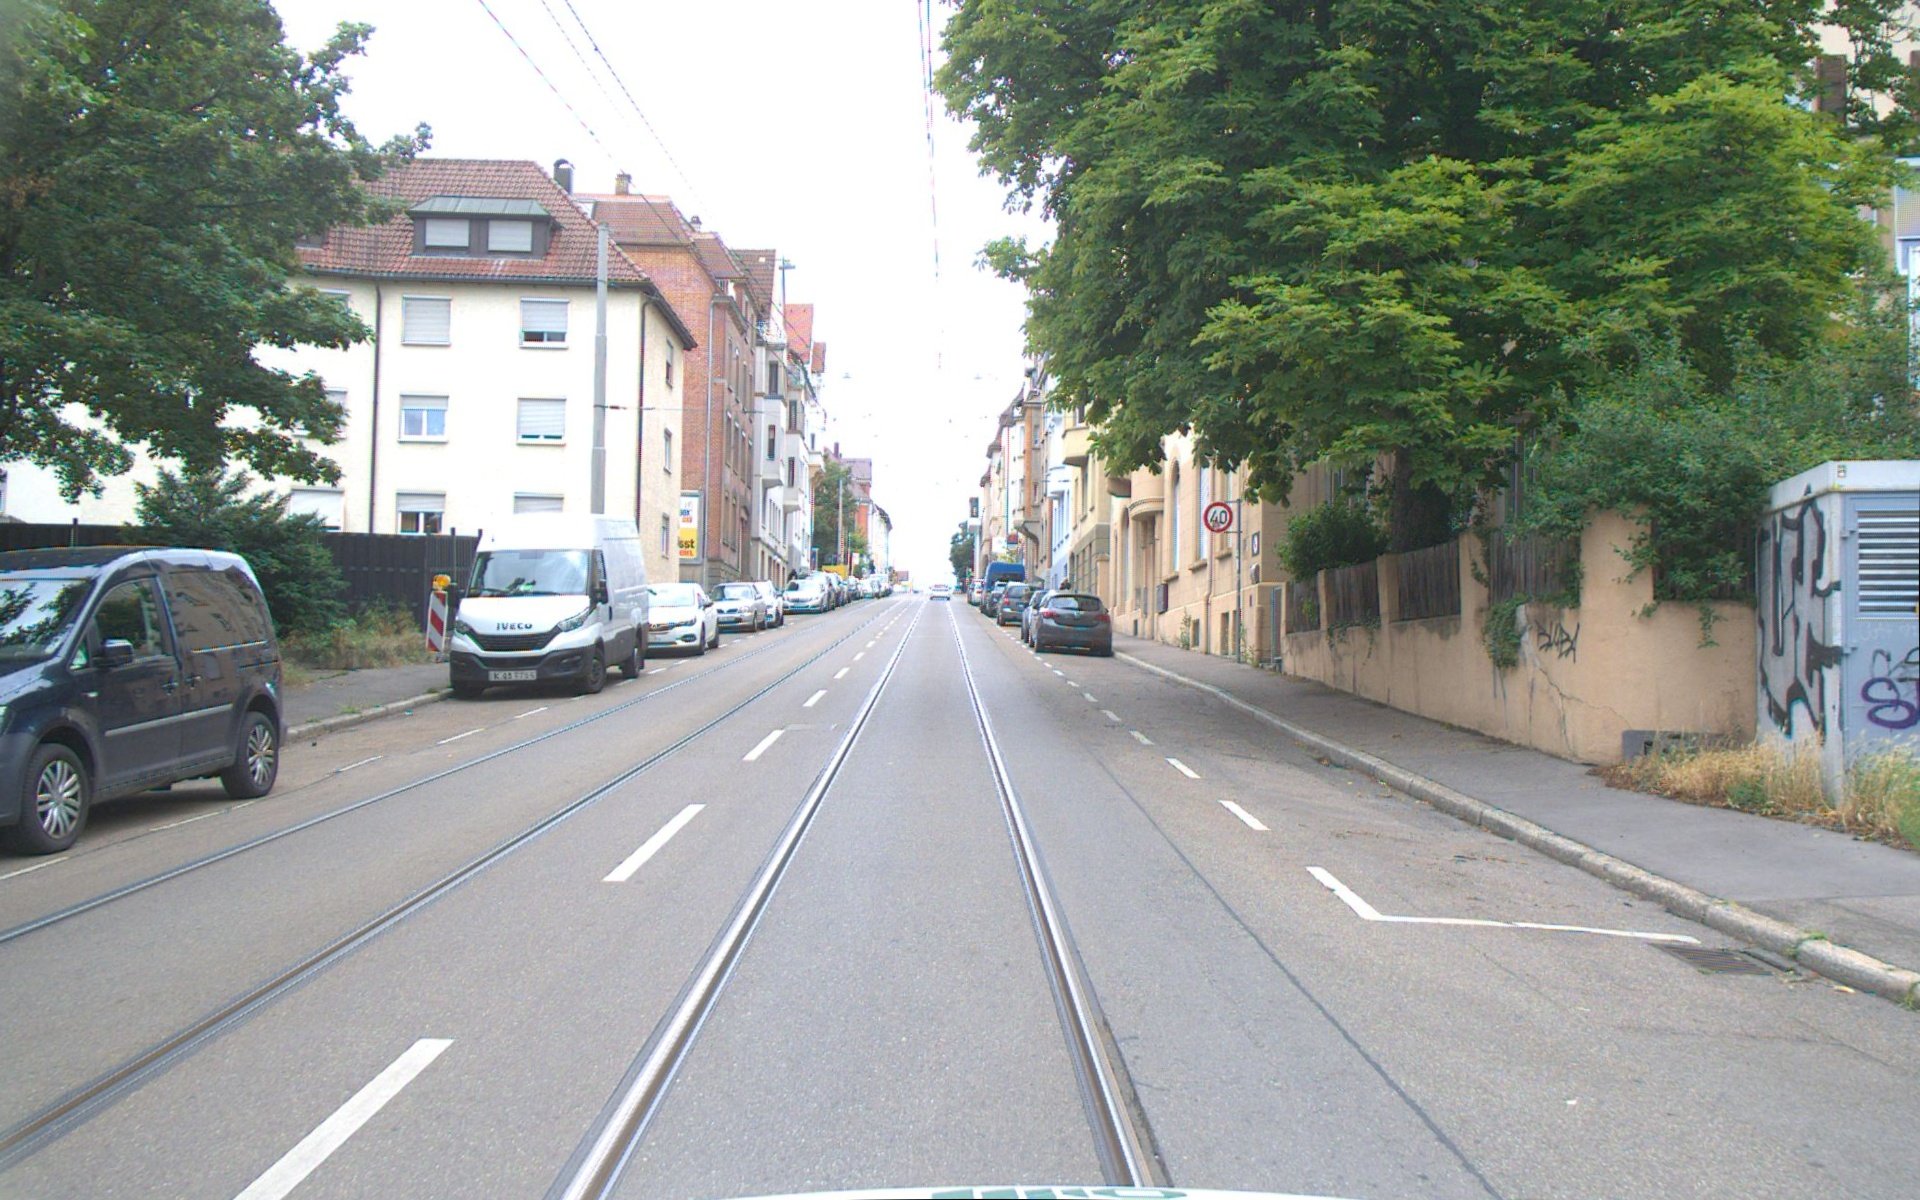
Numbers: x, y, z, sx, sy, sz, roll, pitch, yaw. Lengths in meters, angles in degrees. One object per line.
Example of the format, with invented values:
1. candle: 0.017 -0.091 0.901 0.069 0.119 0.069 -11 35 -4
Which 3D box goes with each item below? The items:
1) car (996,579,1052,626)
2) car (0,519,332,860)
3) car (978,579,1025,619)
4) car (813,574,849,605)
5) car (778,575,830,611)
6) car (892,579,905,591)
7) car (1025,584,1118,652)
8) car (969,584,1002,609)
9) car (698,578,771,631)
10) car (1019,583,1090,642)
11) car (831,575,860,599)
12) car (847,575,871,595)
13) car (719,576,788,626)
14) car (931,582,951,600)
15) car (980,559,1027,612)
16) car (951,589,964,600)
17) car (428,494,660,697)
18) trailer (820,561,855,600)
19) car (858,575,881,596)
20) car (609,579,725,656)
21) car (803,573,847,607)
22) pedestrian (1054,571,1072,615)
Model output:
1. car: 2.318 0.053 60.877 1.790 1.545 4.028 3 1 0
2. car: -5.935 0.488 10.856 1.726 1.806 4.668 -2 0 1
3. car: 1.810 -0.057 72.718 1.744 1.557 4.191 5 0 -2
4. car: -7.136 -0.613 91.989 1.662 1.621 4.268 -1 1 0
5. car: -6.771 -0.323 72.140 1.790 1.454 4.839 -1 1 0
6. car: -8.953 -2.152 239.948 1.817 1.635 4.296 1 0 -1
7. car: 2.603 0.405 39.436 1.802 1.427 4.167 3 0 -1
8. car: 1.505 -0.241 100.023 1.715 1.414 4.306 3 0 -2
9. car: -6.548 0.105 48.365 1.568 1.392 3.807 -2 1 0
10. car: 2.563 0.313 45.555 1.661 1.428 3.667 3 1 0
11. car: -7.460 -0.856 107.781 1.662 1.494 3.023 -1 0 0
12. car: -8.263 -1.220 135.697 1.662 1.583 3.850 1 0 1
13. car: -6.577 -0.010 53.105 1.791 1.454 4.625 -3 1 -3
14. car: -1.728 -0.819 147.562 1.638 1.539 3.796 1 1 -2
15. car: 2.021 -0.669 78.463 1.953 2.418 5.055 1 0 -1
16. car: -0.368 -0.872 258.208 1.953 1.590 4.289 1 0 0
17. car: -6.124 -0.114 25.242 2.115 2.652 6.216 -2 1 -2
18. trailer: -7.121 -1.128 96.155 1.713 2.193 4.071 -1 1 0
19. car: -8.060 -1.300 147.012 1.708 1.766 4.520 -1 0 1
20. car: -6.087 0.315 34.812 1.684 1.427 4.313 -2 1 -1
21. car: -6.976 -0.537 85.925 1.835 1.693 4.892 -1 1 0
22. pedestrian: 4.160 -0.280 66.759 0.530 1.711 0.515 -3 -2 -9
